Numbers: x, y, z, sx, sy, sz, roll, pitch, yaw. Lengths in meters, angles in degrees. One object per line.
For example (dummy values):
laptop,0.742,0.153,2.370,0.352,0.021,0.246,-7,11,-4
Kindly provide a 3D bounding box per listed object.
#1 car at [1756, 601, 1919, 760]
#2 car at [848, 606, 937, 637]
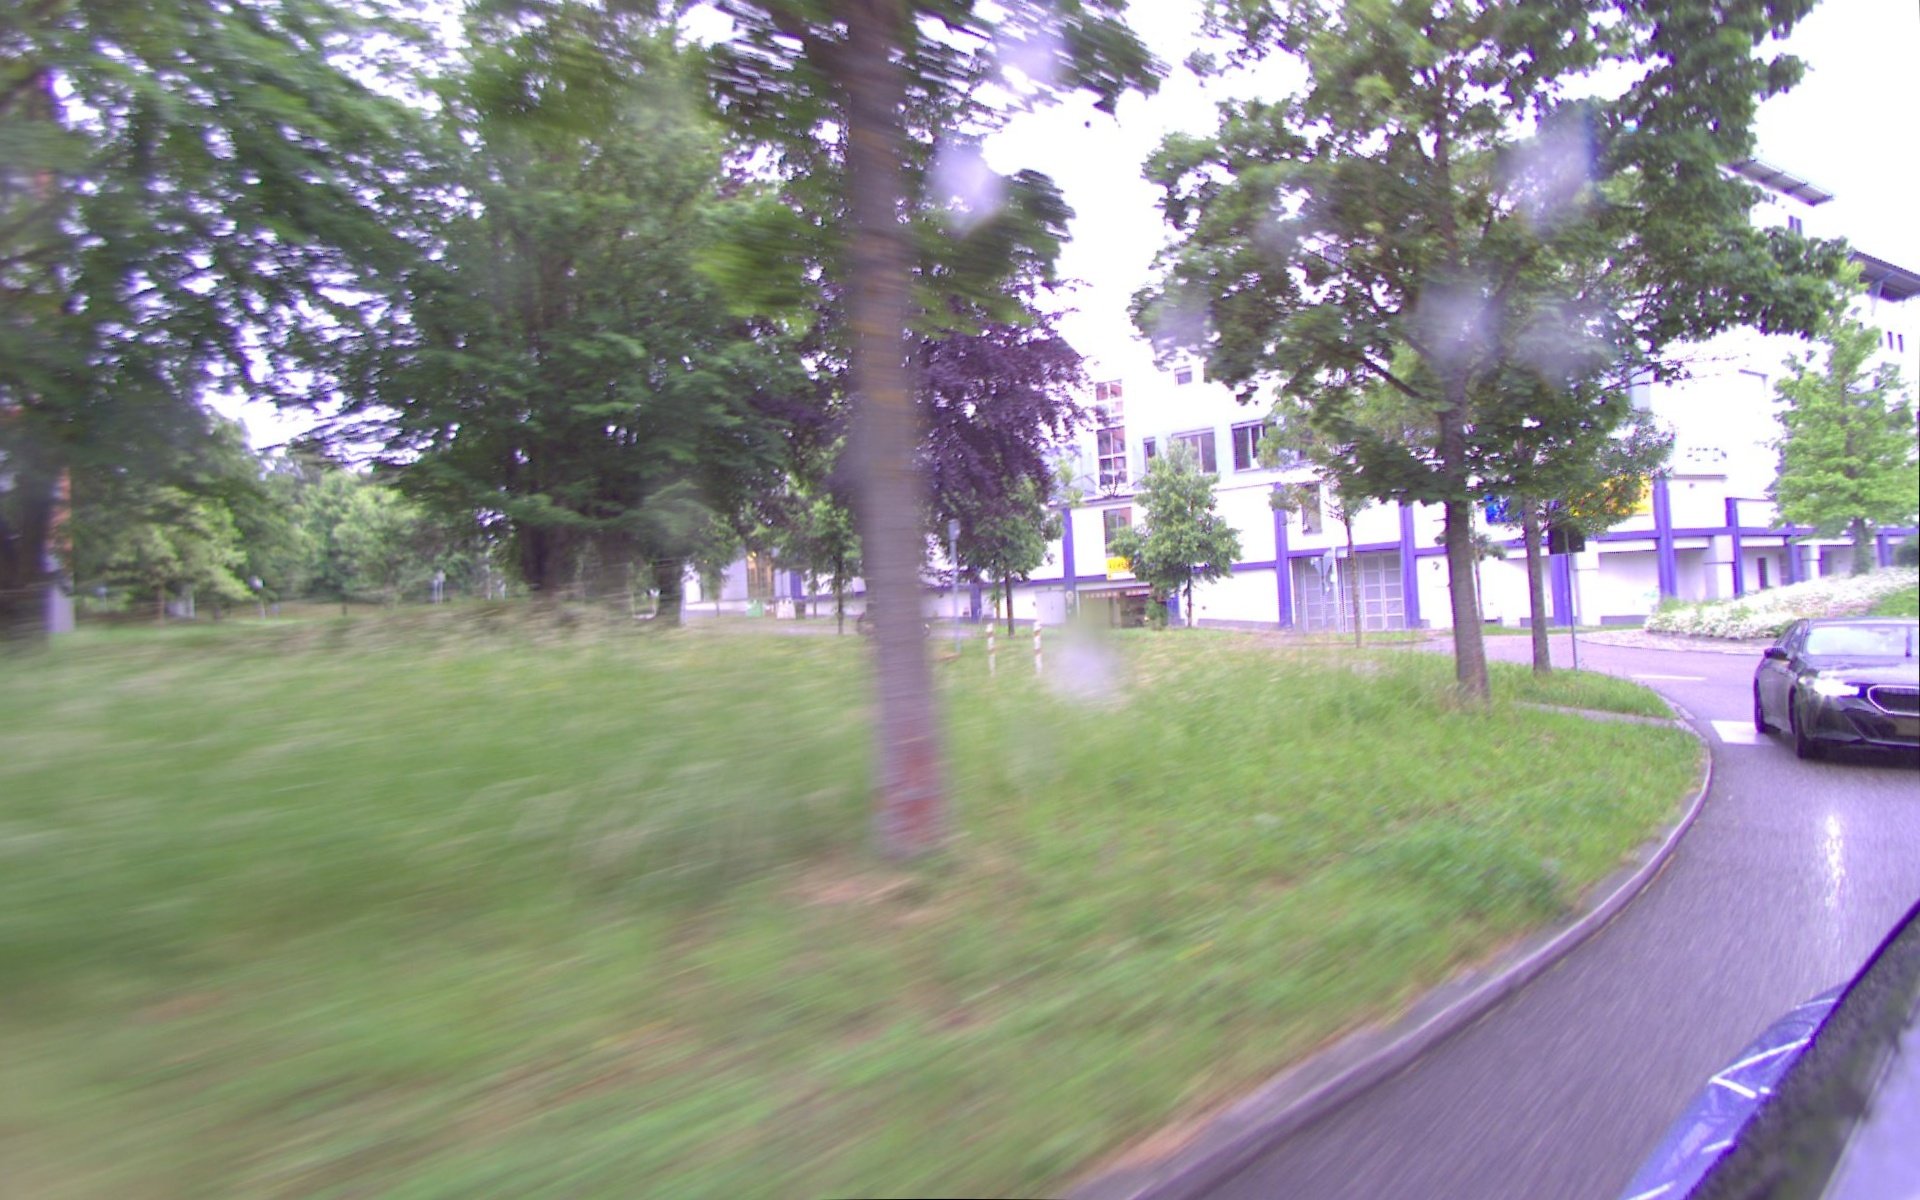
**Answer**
car,10.267,0.820,11.171,1.832,1.499,3.954,0,-2,31
car,-3.263,1.011,48.653,3.963,1.427,1.782,0,0,29
